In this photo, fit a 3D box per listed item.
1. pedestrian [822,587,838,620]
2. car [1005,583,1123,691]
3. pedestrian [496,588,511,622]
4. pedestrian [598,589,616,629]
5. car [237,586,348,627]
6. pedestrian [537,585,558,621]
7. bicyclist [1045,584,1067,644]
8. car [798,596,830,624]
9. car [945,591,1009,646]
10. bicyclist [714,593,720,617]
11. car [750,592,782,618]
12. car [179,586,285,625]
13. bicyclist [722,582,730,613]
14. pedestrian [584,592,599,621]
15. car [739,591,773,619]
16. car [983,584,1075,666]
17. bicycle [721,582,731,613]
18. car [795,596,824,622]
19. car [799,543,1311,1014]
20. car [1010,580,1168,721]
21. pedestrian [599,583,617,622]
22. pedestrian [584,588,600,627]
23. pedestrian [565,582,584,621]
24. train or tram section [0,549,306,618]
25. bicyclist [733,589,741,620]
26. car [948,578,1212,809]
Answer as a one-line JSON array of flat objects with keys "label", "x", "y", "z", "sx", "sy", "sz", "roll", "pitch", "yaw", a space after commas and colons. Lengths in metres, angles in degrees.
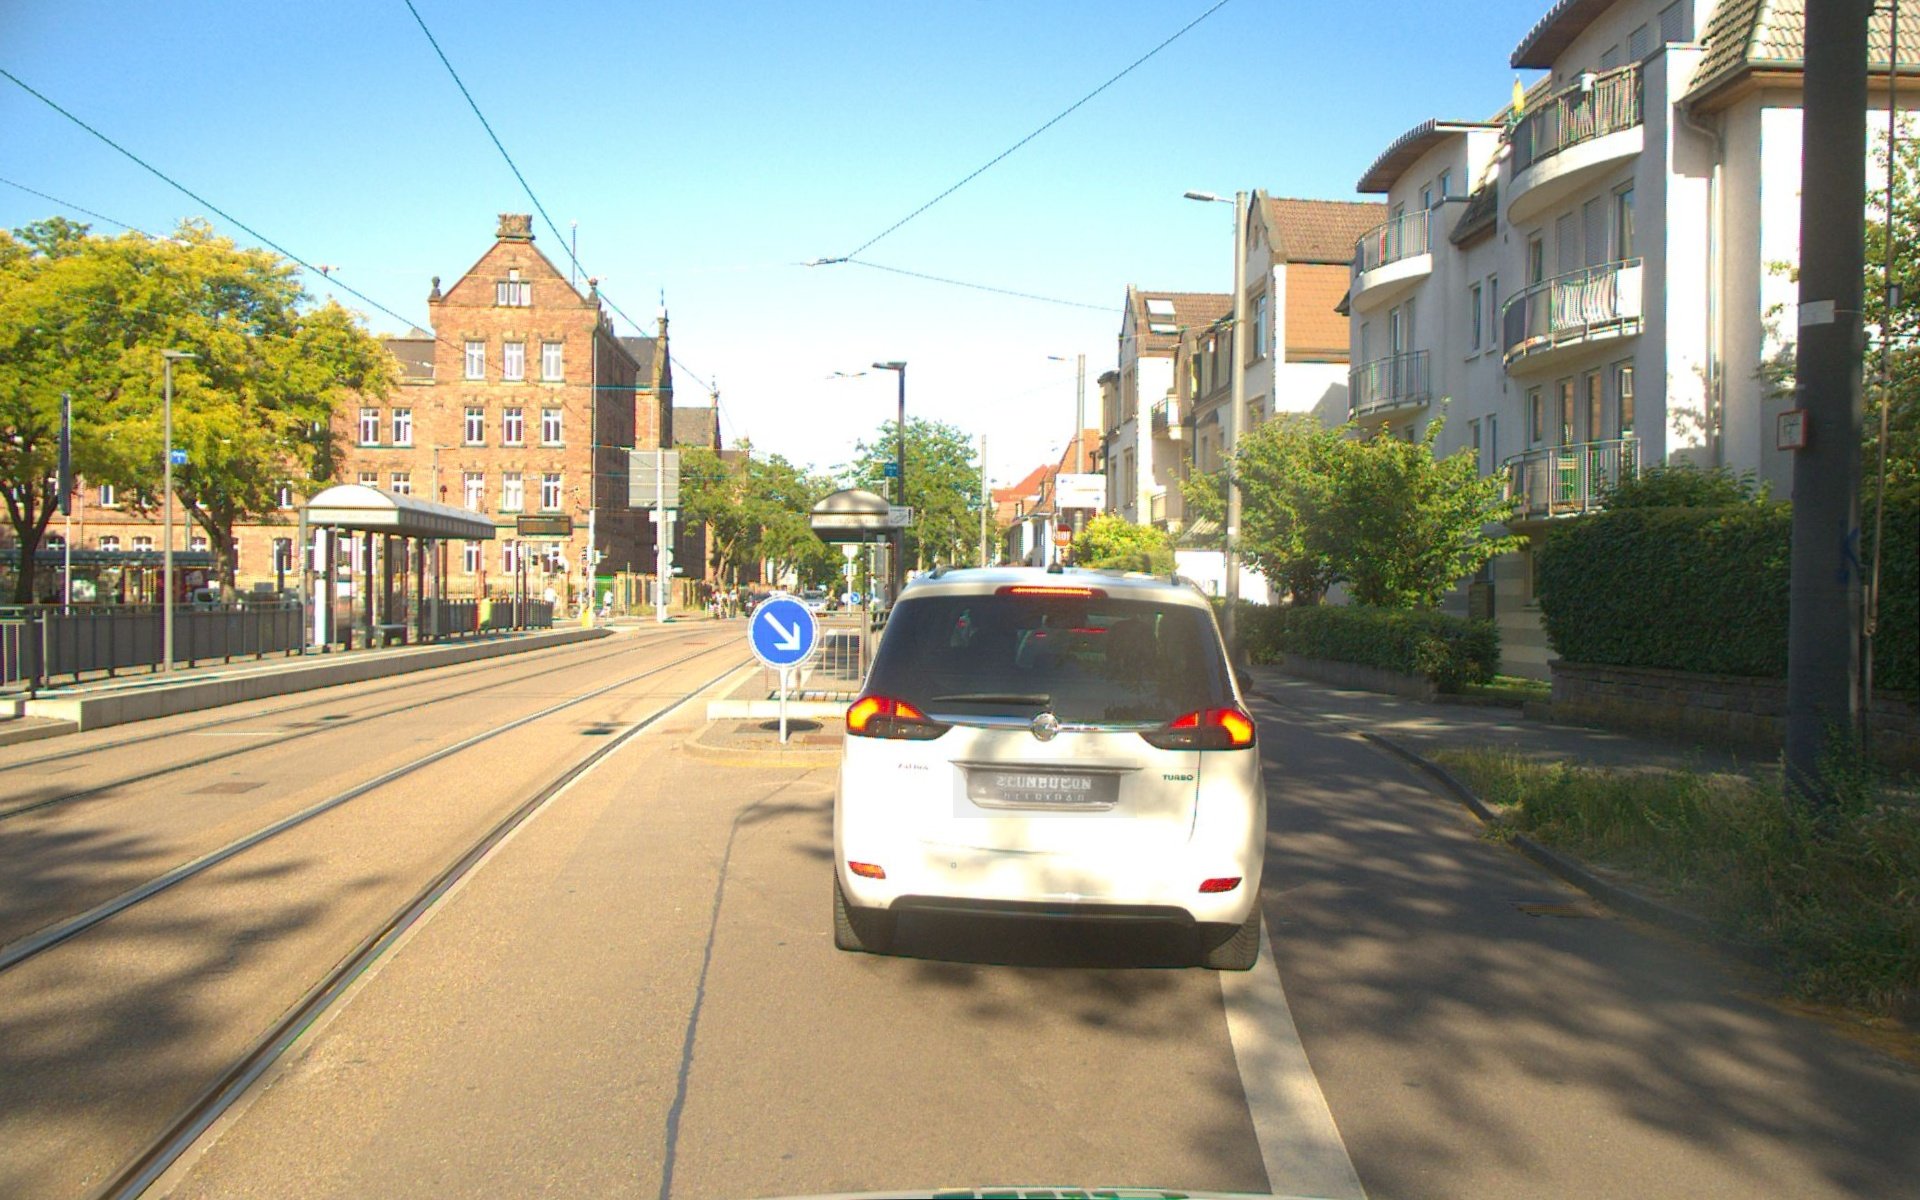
[{"label": "pedestrian", "x": -7.769, "y": 0.203, "z": 98.728, "sx": 0.731, "sy": 1.934, "sz": 0.805, "roll": 1, "pitch": -1, "yaw": -23}, {"label": "car", "x": 1.791, "y": 0.580, "z": 28.293, "sx": 1.867, "sy": 1.690, "sz": 4.002, "roll": 0, "pitch": 0, "yaw": 4}, {"label": "pedestrian", "x": -23.986, "y": 0.258, "z": 86.889, "sx": 0.754, "sy": 1.805, "sz": 0.717, "roll": 1, "pitch": -1, "yaw": -18}, {"label": "pedestrian", "x": -18.088, "y": 0.473, "z": 84.695, "sx": 0.782, "sy": 2.049, "sz": 0.717, "roll": 1, "pitch": -1, "yaw": -18}, {"label": "car", "x": -28.114, "y": 0.277, "z": 69.752, "sx": 3.908, "sy": 1.658, "sz": 1.817, "roll": 1, "pitch": 0, "yaw": -4}, {"label": "pedestrian", "x": -22.104, "y": 0.152, "z": 88.690, "sx": 0.791, "sy": 1.934, "sz": 0.744, "roll": 1, "pitch": -1, "yaw": 13}, {"label": "bicyclist", "x": 2.767, "y": 0.391, "z": 47.727, "sx": 0.603, "sy": 1.716, "sz": 0.779, "roll": 0, "pitch": 0, "yaw": 3}, {"label": "car", "x": -9.452, "y": 0.627, "z": 107.209, "sx": 1.711, "sy": 1.746, "sz": 3.999, "roll": 1, "pitch": 0, "yaw": -1}, {"label": "car", "x": 0.504, "y": 0.559, "z": 53.089, "sx": 1.869, "sy": 1.690, "sz": 3.998, "roll": 0, "pitch": 0, "yaw": -2}, {"label": "bicyclist", "x": -15.104, "y": 0.298, "z": 102.806, "sx": 0.307, "sy": 1.469, "sz": 0.384, "roll": 0, "pitch": 0, "yaw": -1}, {"label": "car", "x": -13.305, "y": 0.365, "z": 113.505, "sx": 1.711, "sy": 1.746, "sz": 3.999, "roll": 1, "pitch": 0, "yaw": -1}, {"label": "car", "x": -32.445, "y": 0.231, "z": 73.826, "sx": 3.908, "sy": 1.658, "sz": 1.817, "roll": 1, "pitch": 0, "yaw": -4}, {"label": "bicyclist", "x": -15.391, "y": -0.163, "z": 108.812, "sx": 0.488, "sy": 2.049, "sz": 0.572, "roll": 0, "pitch": 0, "yaw": -1}, {"label": "pedestrian", "x": -21.144, "y": 0.378, "z": 94.970, "sx": 0.640, "sy": 1.640, "sz": 0.711, "roll": 1, "pitch": -1, "yaw": 1}, {"label": "car", "x": -13.159, "y": 0.305, "z": 106.840, "sx": 1.711, "sy": 1.746, "sz": 3.999, "roll": 1, "pitch": 0, "yaw": -1}, {"label": "car", "x": 1.448, "y": 0.506, "z": 36.126, "sx": 1.868, "sy": 1.690, "sz": 4.000, "roll": 0, "pitch": 0, "yaw": 0}, {"label": "bicycle", "x": -15.386, "y": -0.162, "z": 108.824, "sx": 0.477, "sy": 2.049, "sz": 1.405, "roll": 0, "pitch": 0, "yaw": -1}, {"label": "car", "x": -10.469, "y": 0.605, "z": 115.050, "sx": 1.711, "sy": 1.746, "sz": 3.999, "roll": 1, "pitch": 0, "yaw": -1}, {"label": "car", "x": 0.554, "y": 0.633, "z": 8.051, "sx": 1.866, "sy": 1.690, "sz": 4.003, "roll": 0, "pitch": 0, "yaw": 6}, {"label": "car", "x": 1.751, "y": 0.588, "z": 21.632, "sx": 1.866, "sy": 1.653, "sz": 4.003, "roll": 0, "pitch": 0, "yaw": 6}, {"label": "pedestrian", "x": -18.951, "y": 0.128, "z": 89.045, "sx": 0.785, "sy": 2.049, "sz": 0.715, "roll": 1, "pitch": -1, "yaw": -26}, {"label": "pedestrian", "x": -19.594, "y": 0.422, "z": 88.088, "sx": 0.781, "sy": 2.049, "sz": 1.042, "roll": 1, "pitch": -1, "yaw": -15}, {"label": "pedestrian", "x": -20.539, "y": 0.096, "z": 88.148, "sx": 0.788, "sy": 2.049, "sz": 0.712, "roll": 1, "pitch": -1, "yaw": -34}, {"label": "train or tram section", "x": -40.748, "y": -0.750, "z": 79.428, "sx": 17.048, "sy": 3.210, "sz": 3.343, "roll": 0, "pitch": 0, "yaw": -6}, {"label": "bicyclist", "x": -15.022, "y": 0.306, "z": 111.397, "sx": 0.478, "sy": 2.049, "sz": 0.502, "roll": 1, "pitch": -1, "yaw": -1}, {"label": "car", "x": 1.070, "y": 0.650, "z": 13.781, "sx": 1.866, "sy": 1.625, "sz": 4.003, "roll": 0, "pitch": 0, "yaw": 6}]
